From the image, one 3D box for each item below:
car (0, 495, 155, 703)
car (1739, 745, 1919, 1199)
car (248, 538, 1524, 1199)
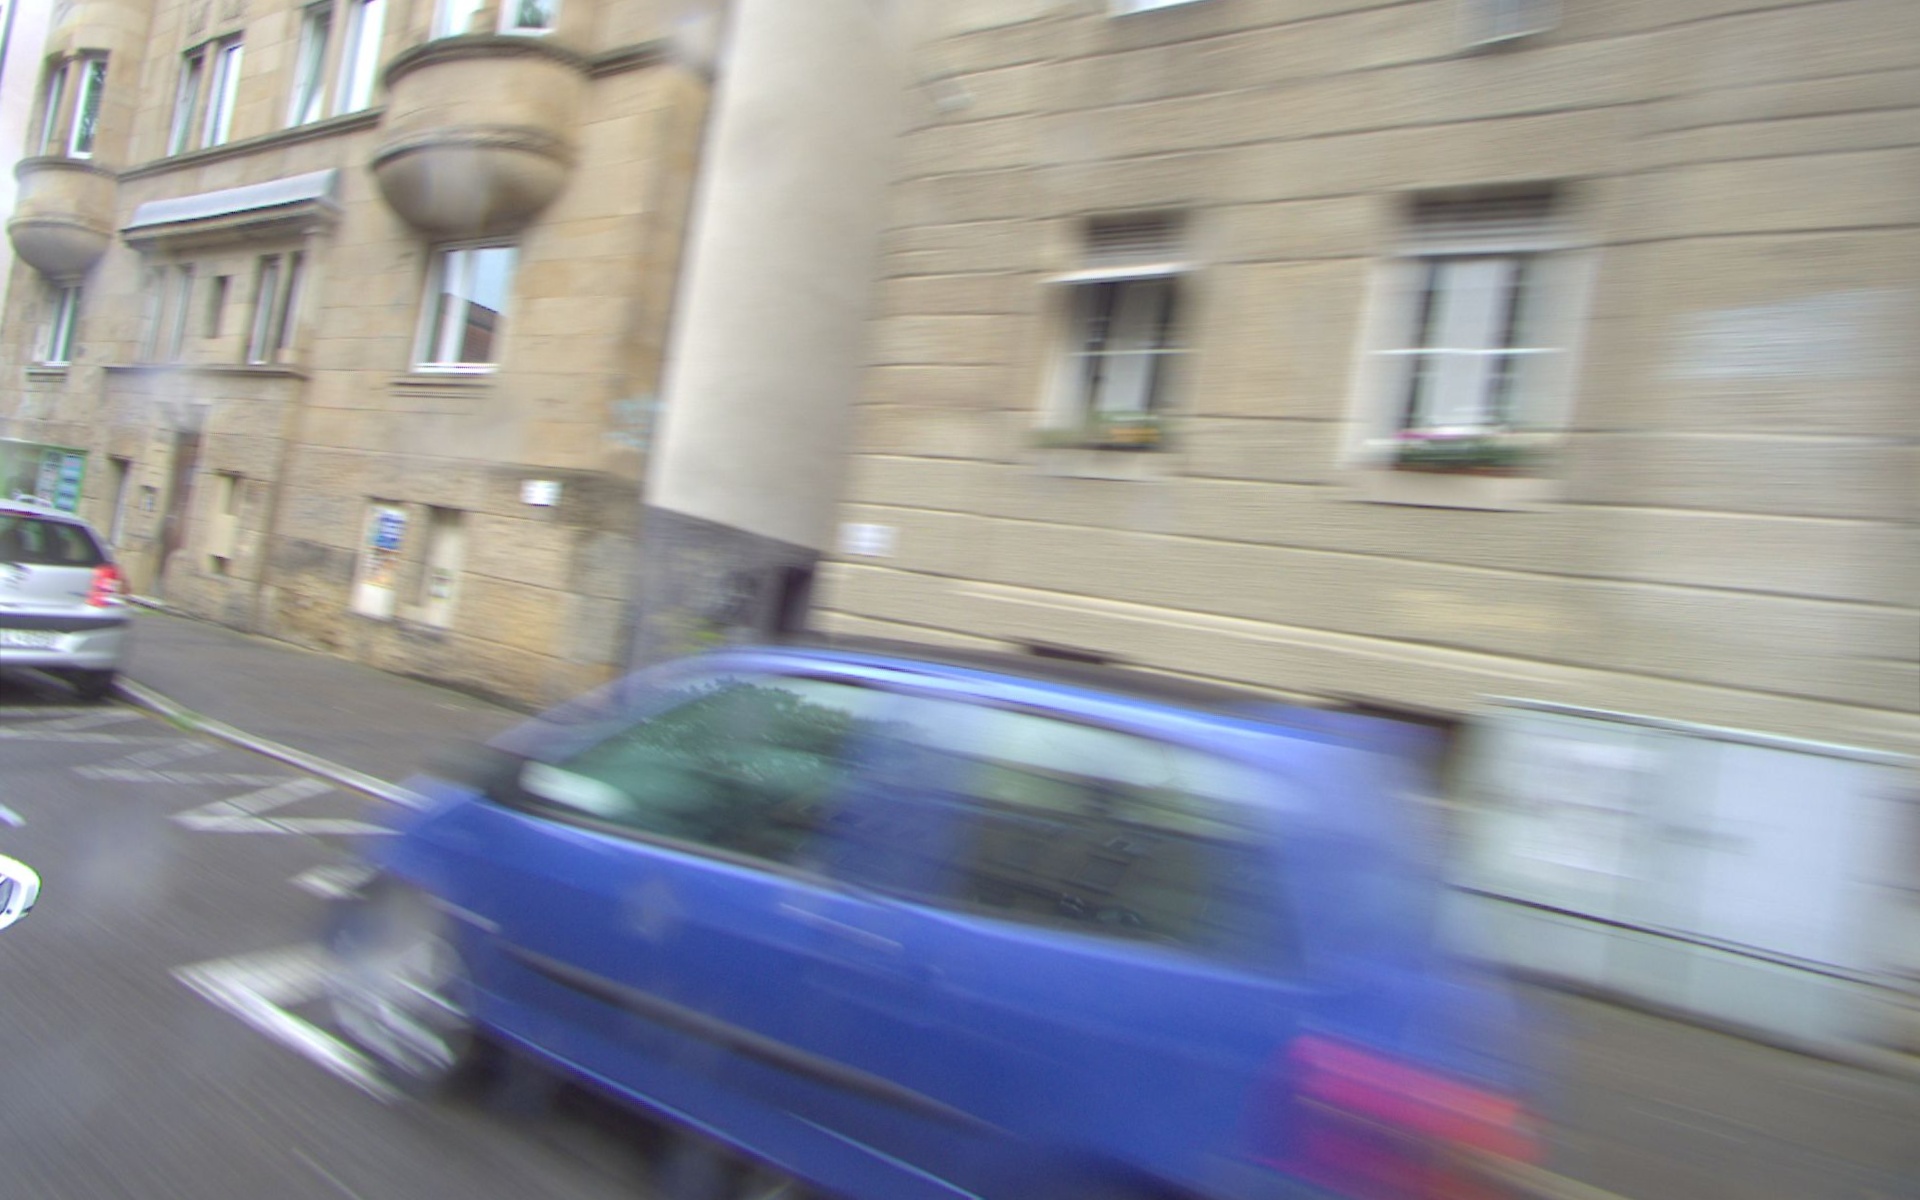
[{"bbox_3d":[-8.254,-0.186,7.975,3.621,1.451,1.594,7,-1,30],"label":"car"},{"bbox_3d":[3.312,1.224,0.760,4.014,1.479,1.792,7,-2,30],"label":"car"},{"bbox_3d":[-0.337,0.769,3.006,3.388,1.431,1.547,7,-2,30],"label":"car"}]
